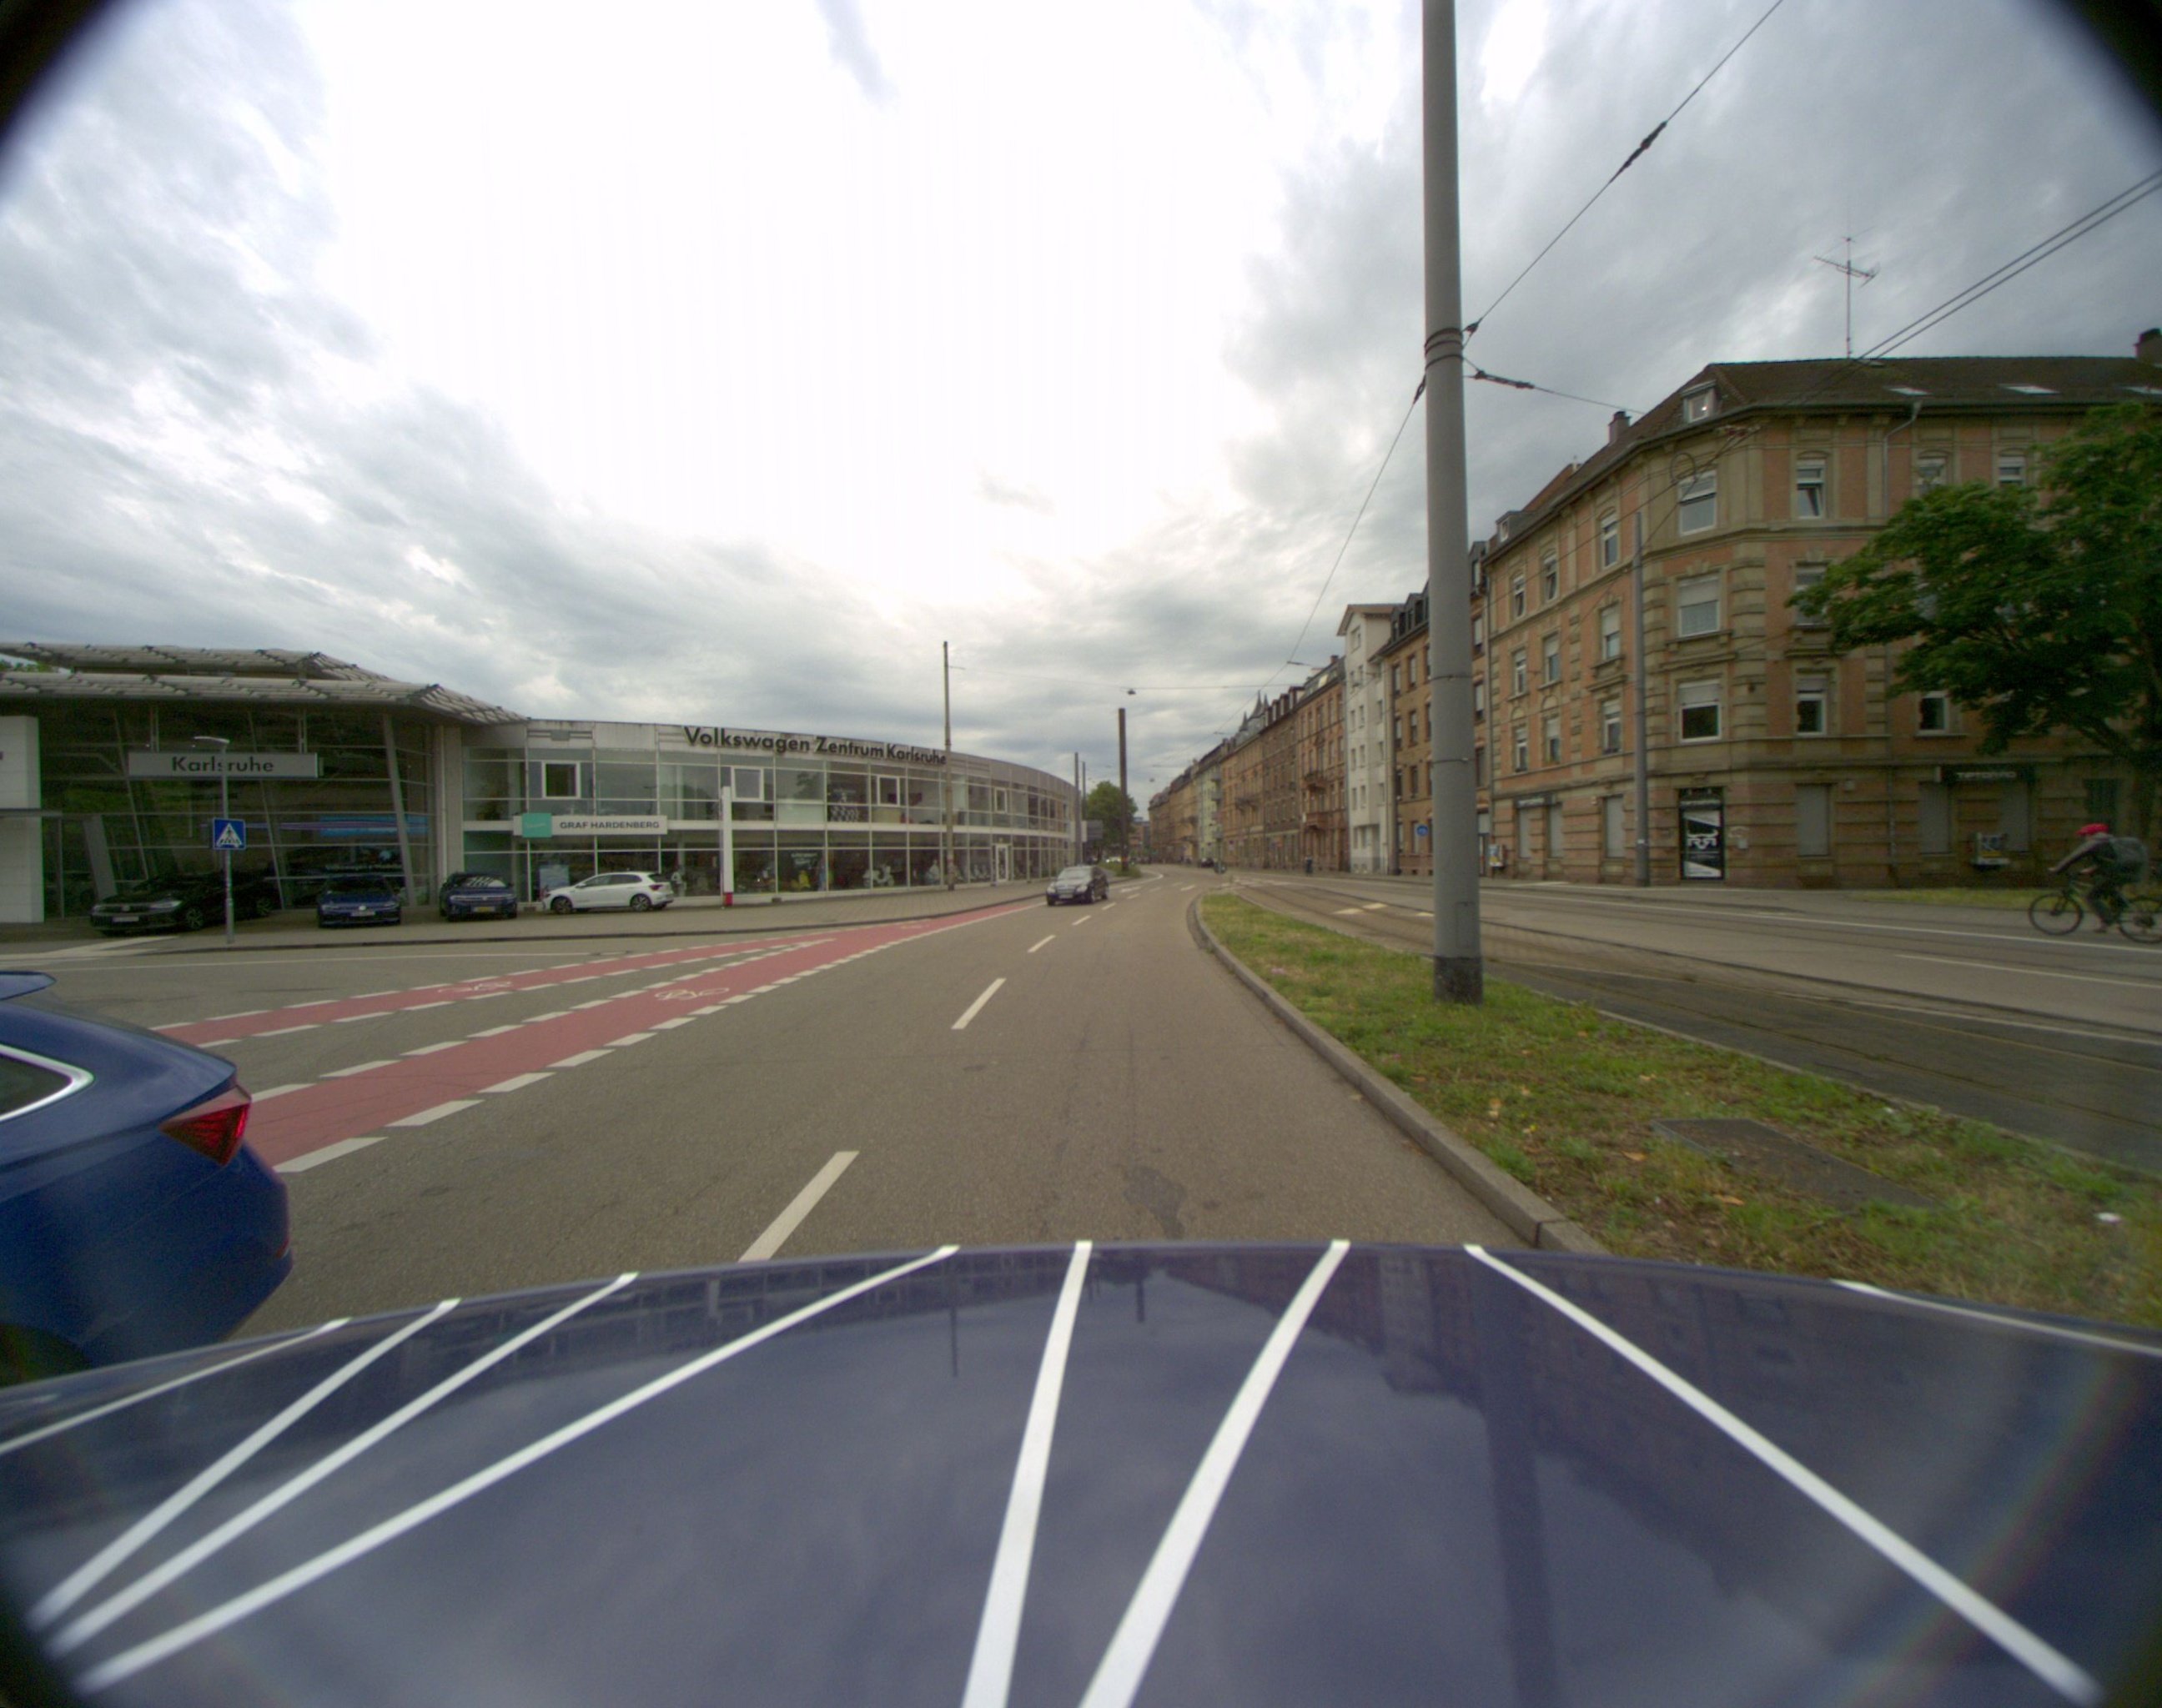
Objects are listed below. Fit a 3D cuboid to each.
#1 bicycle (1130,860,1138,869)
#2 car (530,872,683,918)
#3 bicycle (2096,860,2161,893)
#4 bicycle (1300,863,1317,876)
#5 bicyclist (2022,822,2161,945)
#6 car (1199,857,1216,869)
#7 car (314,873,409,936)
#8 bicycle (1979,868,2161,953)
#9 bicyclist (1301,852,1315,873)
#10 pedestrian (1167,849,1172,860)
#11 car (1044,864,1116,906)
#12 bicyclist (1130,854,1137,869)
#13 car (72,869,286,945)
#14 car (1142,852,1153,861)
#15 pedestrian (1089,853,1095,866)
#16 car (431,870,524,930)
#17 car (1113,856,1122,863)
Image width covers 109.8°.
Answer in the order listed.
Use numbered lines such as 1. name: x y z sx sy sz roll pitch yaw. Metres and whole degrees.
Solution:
1. bicycle: 6.182 1.194 88.696 0.727 1.003 2.177 -1 0 7
2. car: -16.978 1.439 27.362 4.263 1.444 1.782 -2 0 -9
3. bicycle: 30.436 0.639 21.538 0.662 0.909 1.990 -1 -1 2
4. bicycle: 16.415 1.128 54.763 0.607 0.910 1.719 -2 0 -4
5. bicyclist: 16.099 0.457 12.146 0.831 1.880 1.049 0 0 3
6. car: 17.002 1.185 102.149 1.852 1.471 3.829 -1 0 3
7. car: -22.348 1.489 23.552 4.325 1.496 1.862 3 3 43
8. bicycle: 16.099 0.847 12.179 0.826 1.201 2.235 0 0 3
9. bicyclist: 16.390 0.639 54.783 0.663 1.485 0.942 -2 0 -3
10. pedestrian: 17.437 0.085 149.934 0.814 2.002 0.733 -1 1 1
11. car: 0.033 1.145 29.295 1.712 1.413 4.074 -1 0 15
12. bicyclist: 6.164 0.829 88.701 0.730 1.747 0.911 -1 1 7
13. car: -26.465 1.466 22.587 1.862 1.624 4.500 -3 4 -18
14. car: 13.018 0.519 148.056 1.802 1.630 4.230 -1 0 1
15. pedestrian: 1.565 0.775 106.919 0.871 1.843 0.706 -1 1 1
16. car: -19.943 1.436 25.040 1.905 1.554 4.207 -2 3 -45
17. car: 8.622 1.289 179.943 1.802 1.630 4.230 -1 0 1
